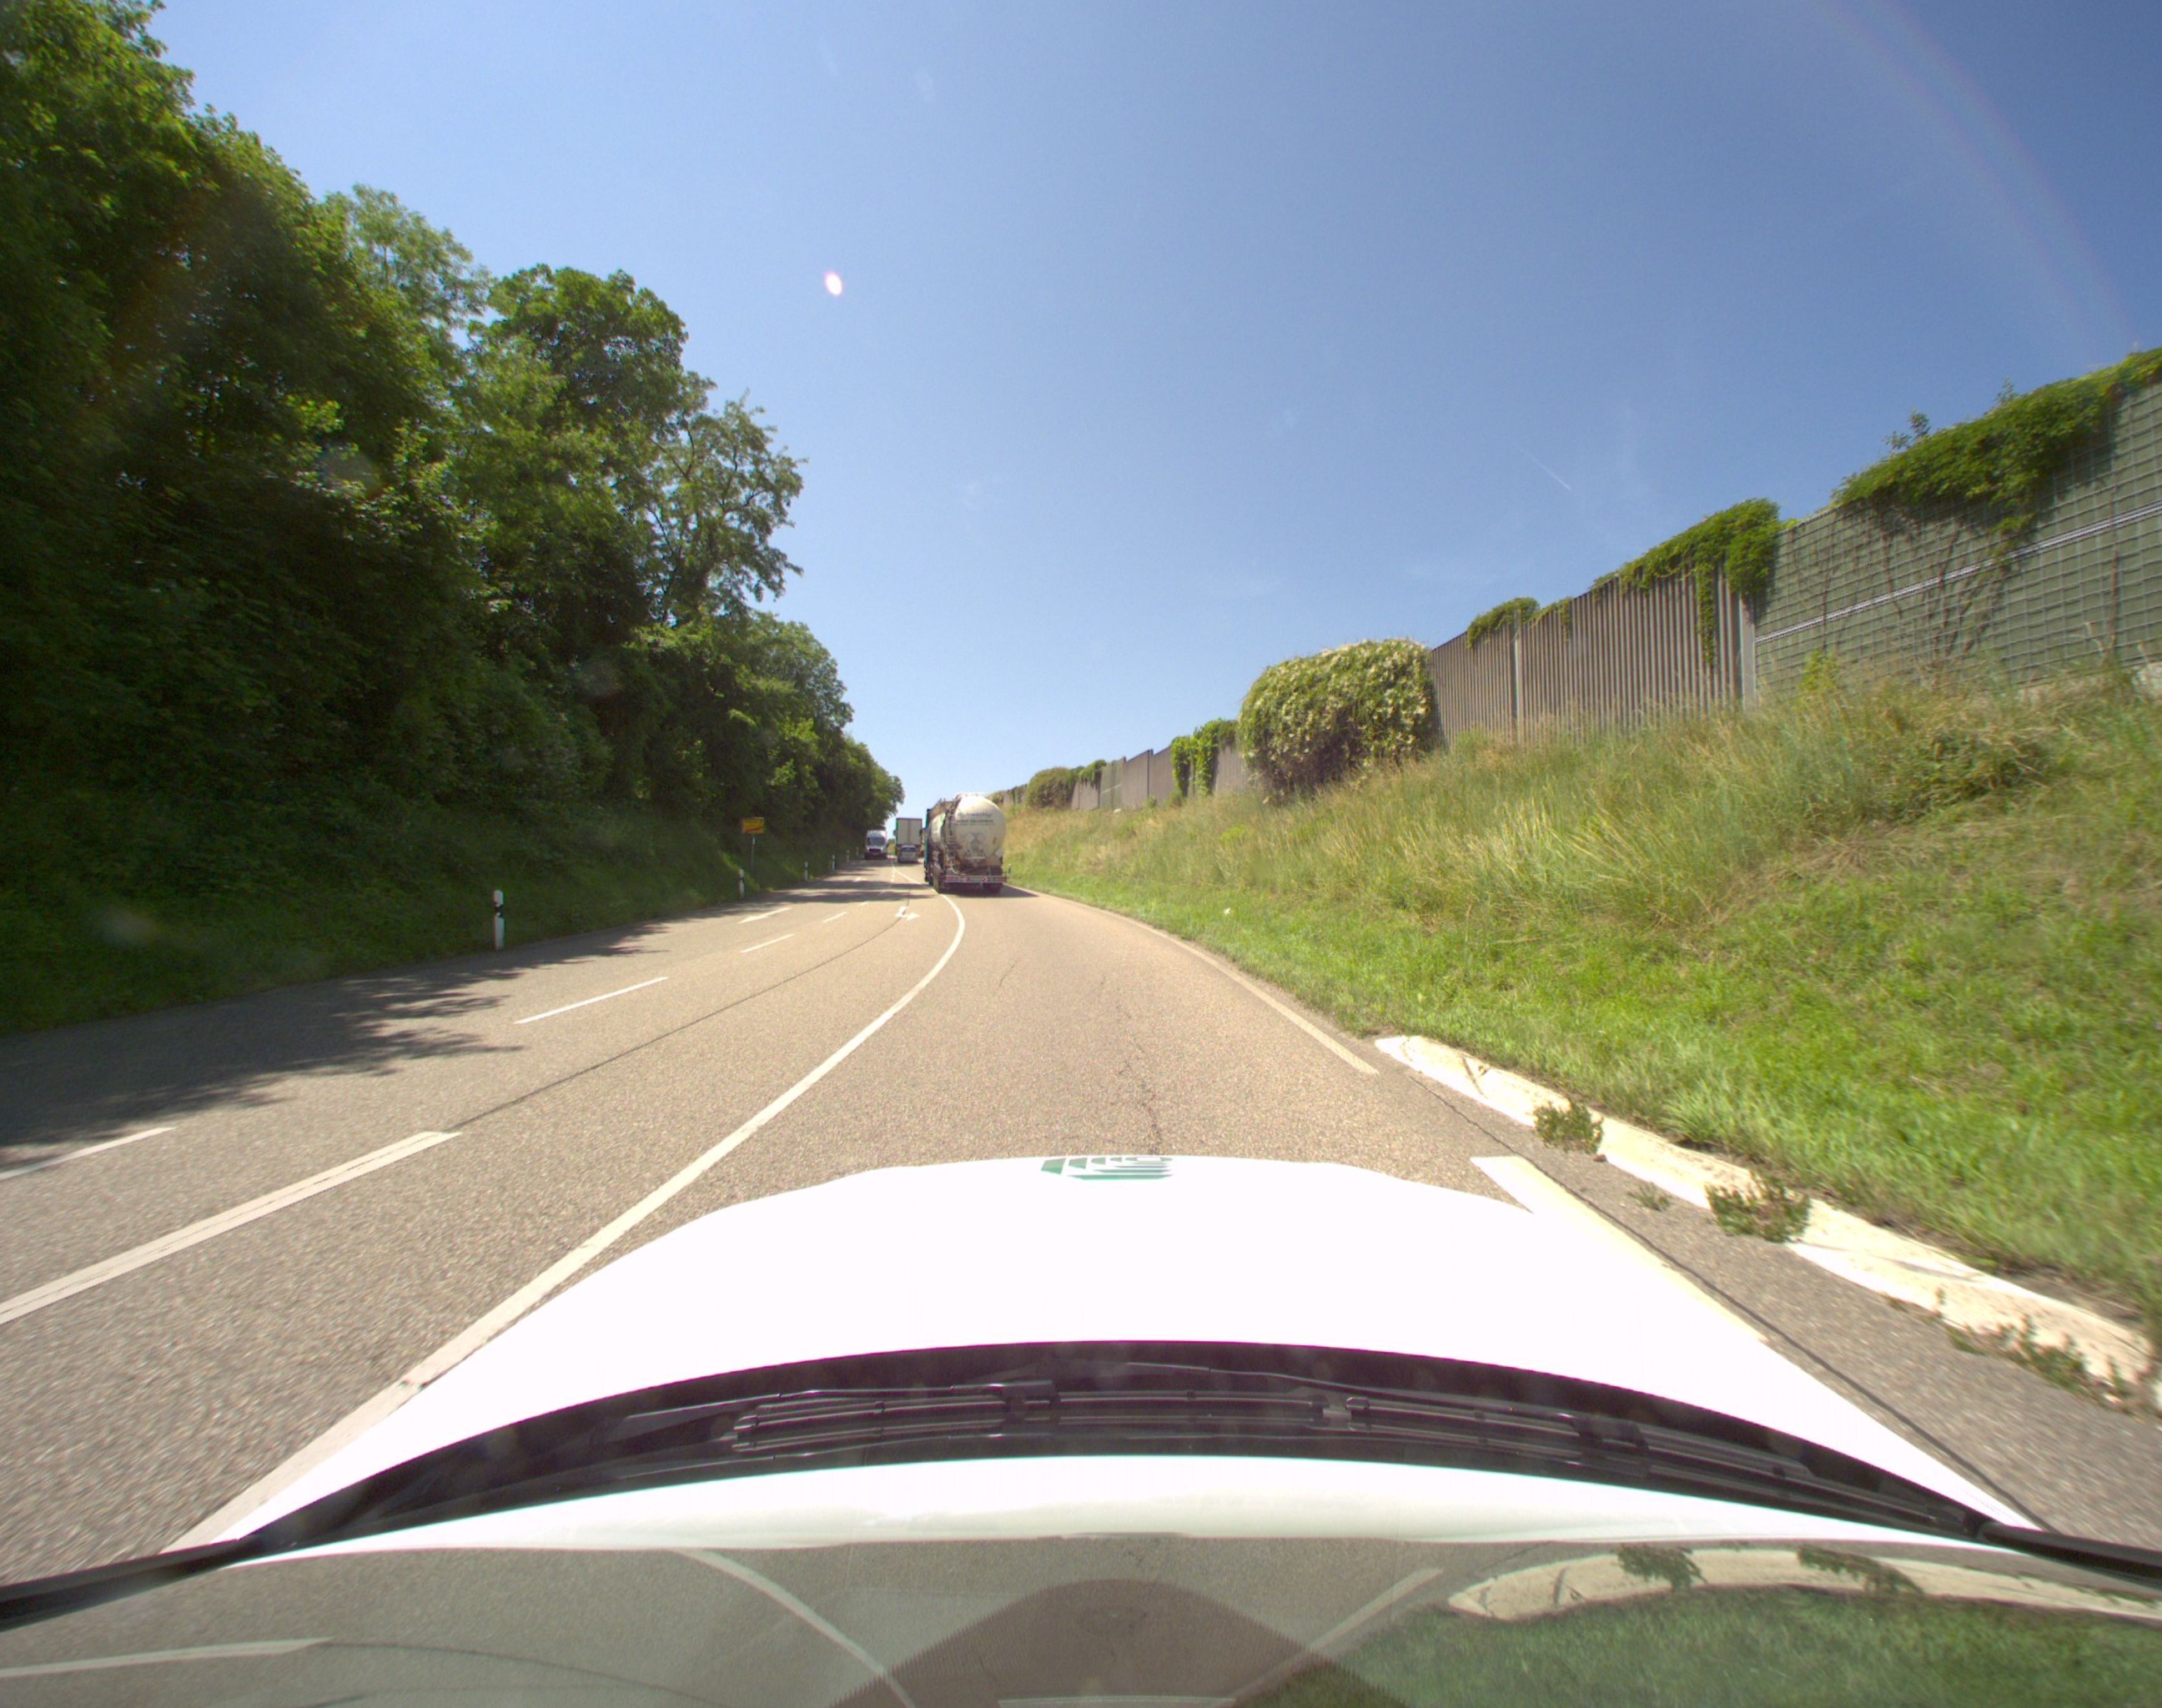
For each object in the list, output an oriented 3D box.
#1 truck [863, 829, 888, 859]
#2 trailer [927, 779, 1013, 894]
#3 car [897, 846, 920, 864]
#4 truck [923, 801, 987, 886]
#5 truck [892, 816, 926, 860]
[{"bbox_3d":[-19.598,-0.973,77.906,2.055,2.686,5.956,1,2,-13],"label":"truck"},{"bbox_3d":[-5.177,-0.646,35.837,2.664,4.188,11.852,1,0,-13],"label":"trailer"},{"bbox_3d":[-15.009,0.069,70.773,1.651,1.509,3.618,2,-1,-16],"label":"car"},{"bbox_3d":[-6.582,-0.504,41.808,2.730,3.929,7.231,0,0,-13],"label":"truck"},{"bbox_3d":[-18.825,-1.695,88.630,3.194,4.309,11.747,4,0,-13],"label":"truck"}]
